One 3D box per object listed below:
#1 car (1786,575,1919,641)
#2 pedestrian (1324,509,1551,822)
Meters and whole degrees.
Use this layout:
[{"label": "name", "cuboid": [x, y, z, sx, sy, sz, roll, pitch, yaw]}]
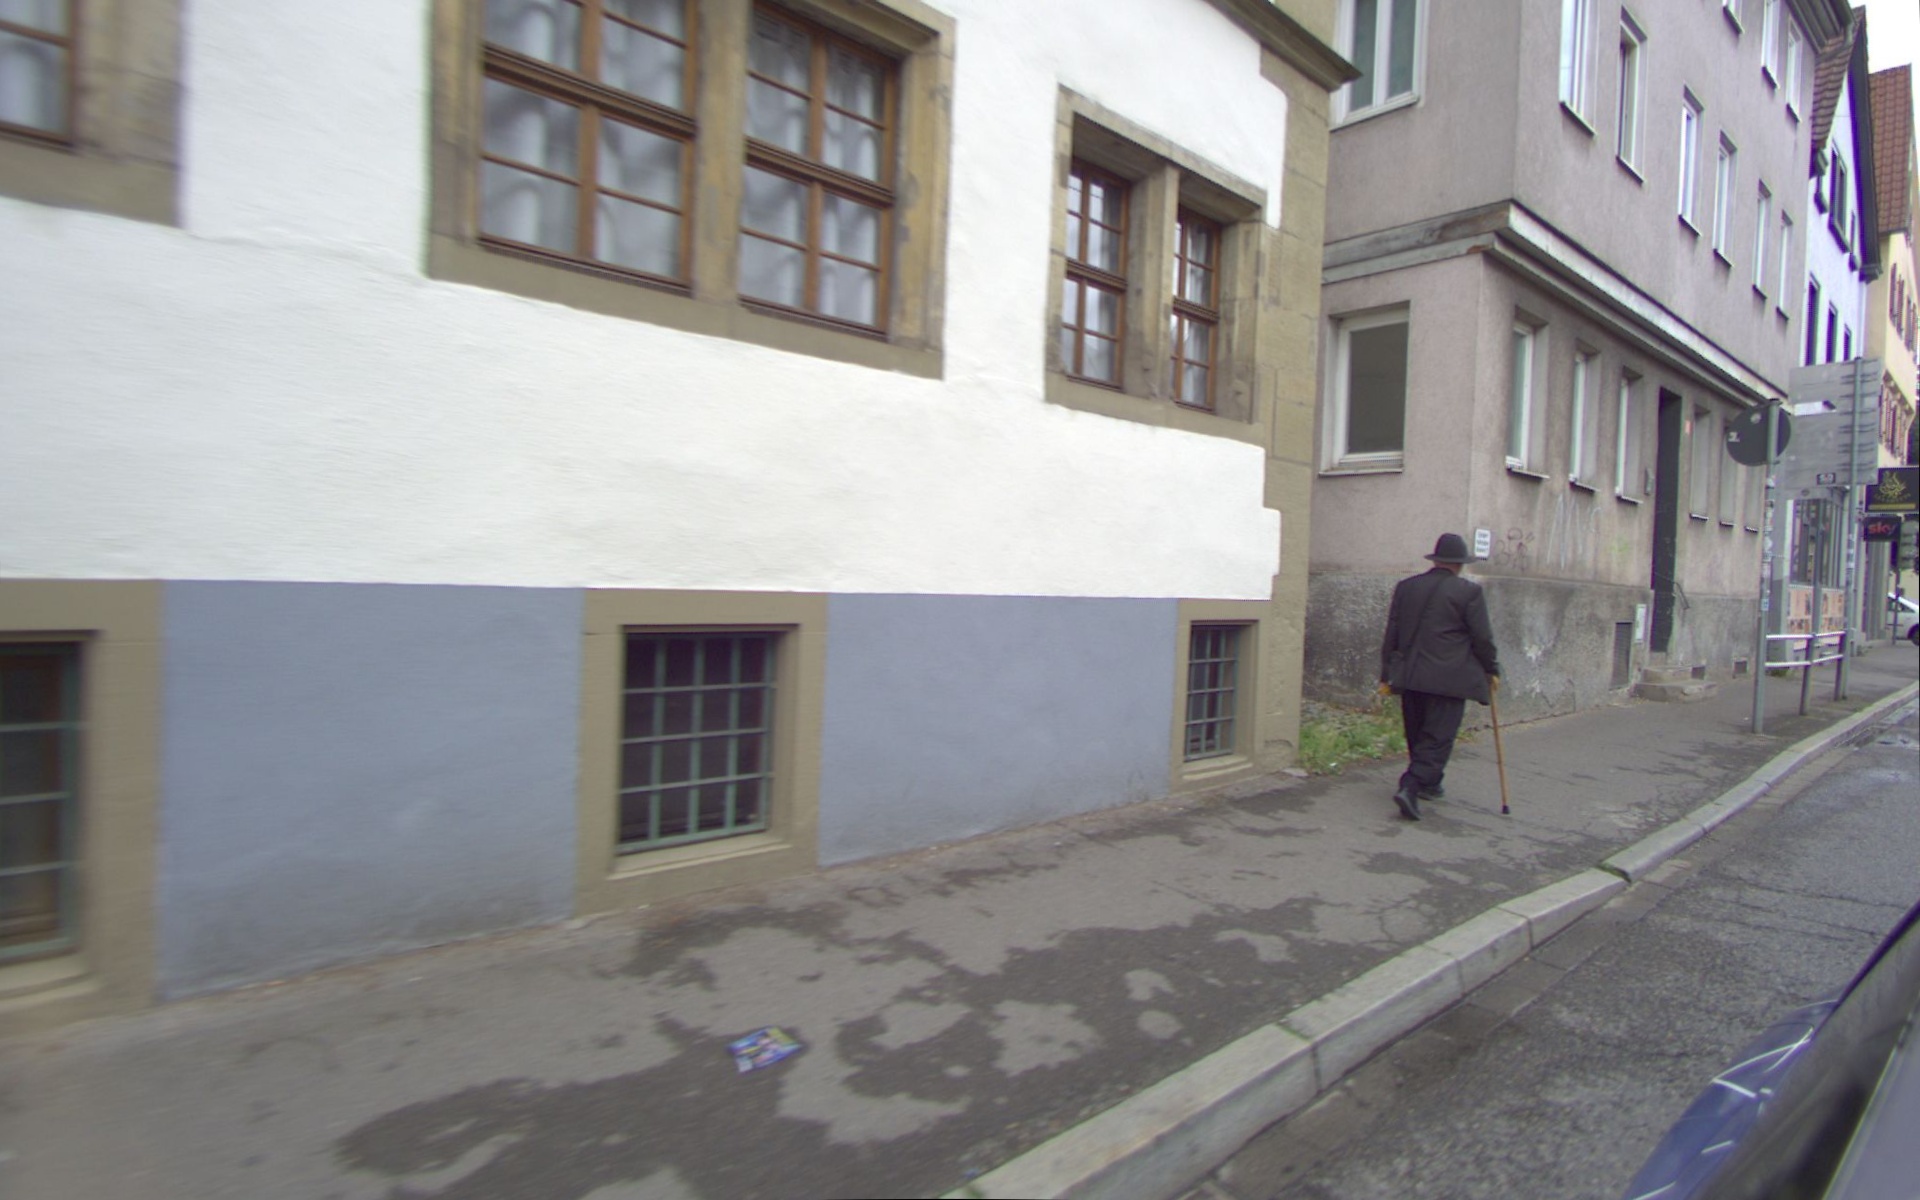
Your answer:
[{"label": "car", "cuboid": [28.314, 0.230, 30.927, 1.966, 1.808, 4.461, -2, 4, -42]}, {"label": "pedestrian", "cuboid": [2.850, 0.323, 6.055, 0.928, 1.675, 0.834, -1, 5, -41]}]
